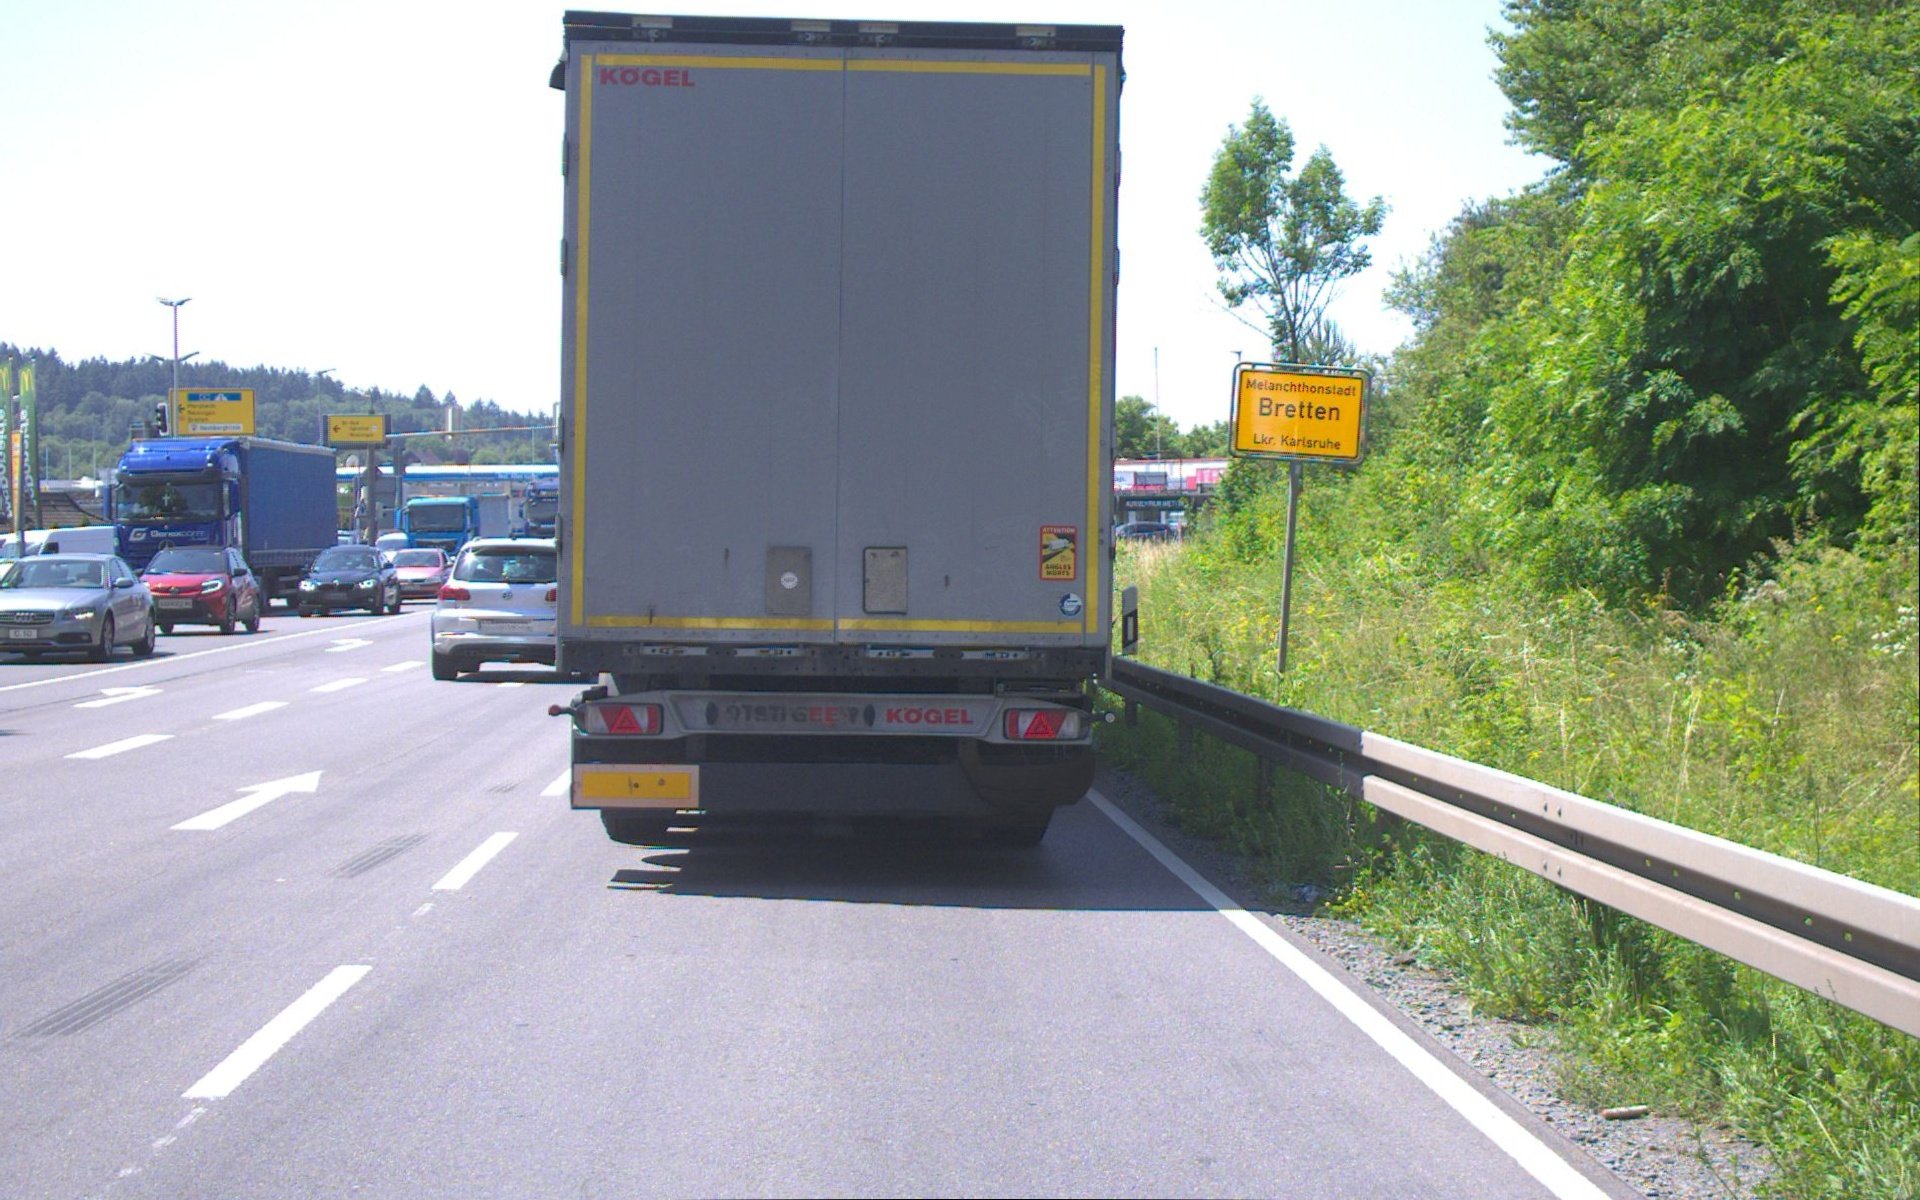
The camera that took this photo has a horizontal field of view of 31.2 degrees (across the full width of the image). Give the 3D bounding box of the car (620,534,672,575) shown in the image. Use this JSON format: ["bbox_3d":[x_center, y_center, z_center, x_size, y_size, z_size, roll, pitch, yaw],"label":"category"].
[{"bbox_3d":[-15.988,-2.293,175.222,2.489,2.007,5.530,1,0,-4],"label":"car"}]

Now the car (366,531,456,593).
[{"bbox_3d":[-14.065,-0.978,88.247,1.767,1.441,3.776,-4,1,-2],"label":"car"}]

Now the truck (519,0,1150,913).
[{"bbox_3d":[-0.674,-0.938,23.744,2.755,4.623,16.655,1,0,-1],"label":"truck"}]

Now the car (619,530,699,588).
[{"bbox_3d":[-7.448,-1.008,85.447,1.686,1.393,4.403,0,0,-1],"label":"car"}]

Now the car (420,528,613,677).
[{"bbox_3d":[-5.278,-0.004,41.368,1.804,1.664,4.292,1,1,-1],"label":"car"}]

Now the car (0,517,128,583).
[{"bbox_3d":[-30.309,-1.664,114.585,1.997,2.175,5.185,0,1,29],"label":"car"}]

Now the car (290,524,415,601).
[{"bbox_3d":[-13.258,-0.820,75.277,1.919,1.475,4.687,-5,1,-2],"label":"car"}]

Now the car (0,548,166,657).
[{"bbox_3d":[-11.978,0.029,46.335,1.766,1.382,4.000,1,0,-2],"label":"car"}]

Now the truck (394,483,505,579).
[{"bbox_3d":[-18.539,-2.486,125.529,2.846,3.340,11.483,0,1,-3],"label":"truck"}]

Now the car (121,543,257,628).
[{"bbox_3d":[-13.364,-0.276,59.763,1.641,1.433,4.017,0,1,-3],"label":"car"}]

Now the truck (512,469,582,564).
[{"bbox_3d":[-19.894,-3.929,166.043,3.145,4.334,17.546,0,1,-7],"label":"truck"}]

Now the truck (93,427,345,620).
[{"bbox_3d":[-17.523,-1.760,82.675,2.968,4.162,16.576,0,1,-2],"label":"truck"}]
